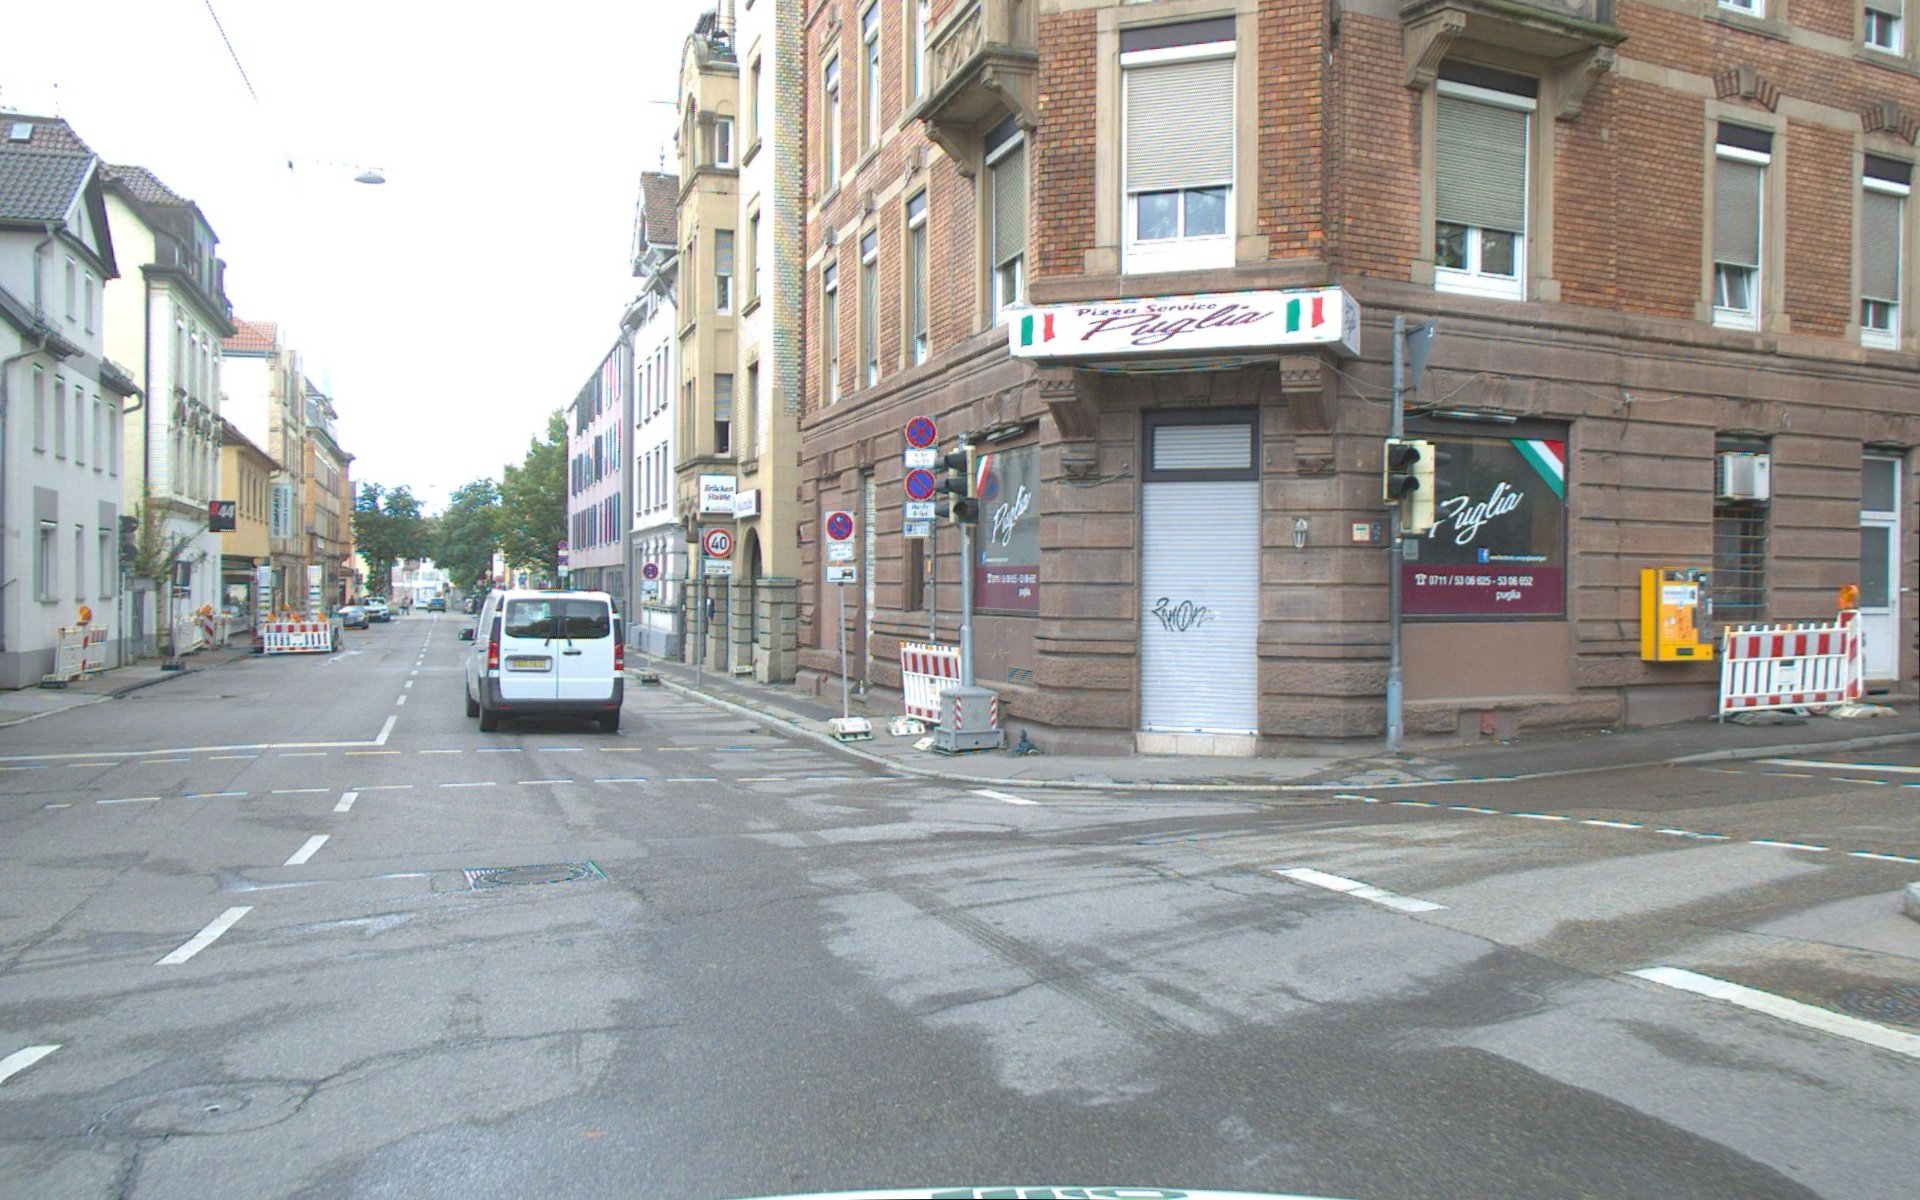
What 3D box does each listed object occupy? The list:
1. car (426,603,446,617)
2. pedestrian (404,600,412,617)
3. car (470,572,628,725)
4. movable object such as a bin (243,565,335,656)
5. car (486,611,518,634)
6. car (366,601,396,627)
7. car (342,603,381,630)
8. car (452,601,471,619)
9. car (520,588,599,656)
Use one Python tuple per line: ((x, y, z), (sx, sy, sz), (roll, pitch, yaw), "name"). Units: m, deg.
((-61.301, 1.160, 193.485), (1.959, 1.646, 3.986), (0, -1, -13), "car")
((-51.415, 0.774, 154.150), (0.611, 1.566, 0.490), (0, -1, -1), "pedestrian")
((-5.976, 0.662, 23.672), (1.863, 1.963, 4.620), (0, -1, -18), "car")
((-22.565, 0.327, 55.790), (2.498, 2.874, 4.515), (-1, 0, -18), "movable object such as a bin")
((-33.418, 1.616, 120.610), (1.963, 1.511, 3.979), (4, -1, -18), "car")
((-41.243, 0.968, 117.846), (1.963, 1.772, 3.978), (2, -1, -19), "car")
((-34.123, 0.925, 94.390), (1.963, 1.467, 3.979), (-1, 0, -18), "car")
((-56.568, 1.146, 187.722), (1.961, 2.049, 3.982), (0, -1, -16), "car")
((-12.973, 0.677, 53.361), (2.095, 2.040, 4.901), (2, -1, -18), "car")
